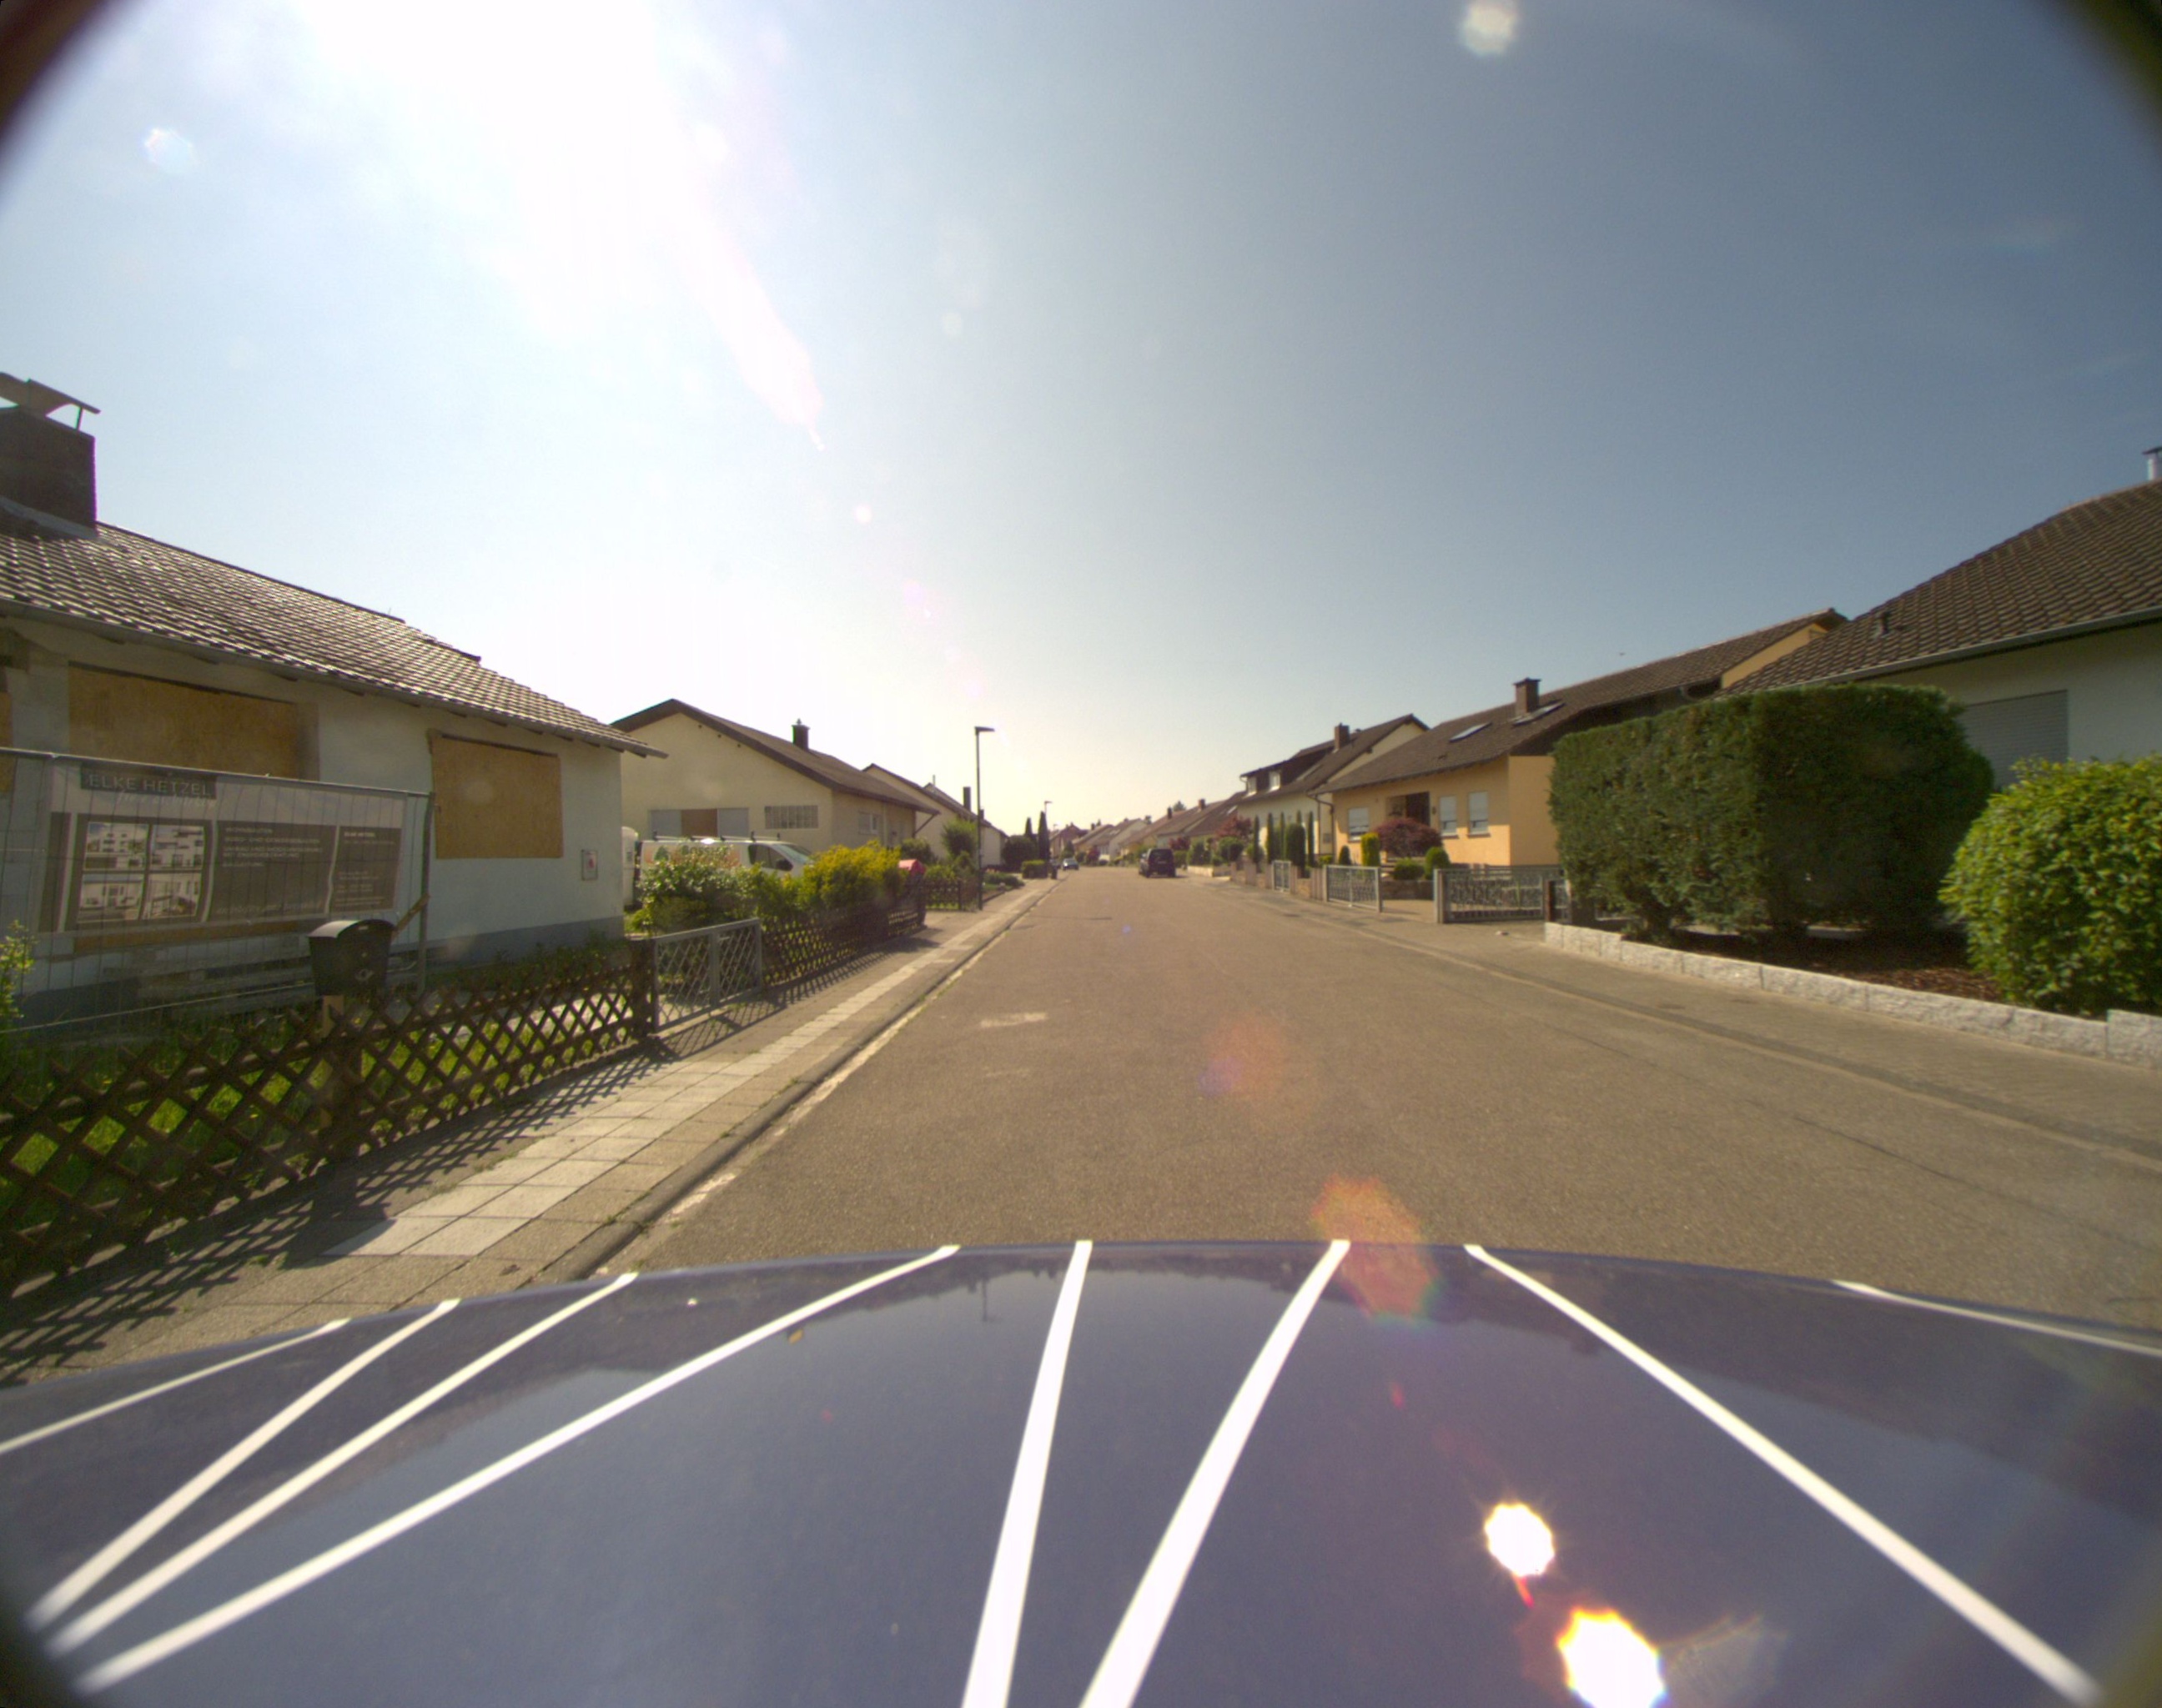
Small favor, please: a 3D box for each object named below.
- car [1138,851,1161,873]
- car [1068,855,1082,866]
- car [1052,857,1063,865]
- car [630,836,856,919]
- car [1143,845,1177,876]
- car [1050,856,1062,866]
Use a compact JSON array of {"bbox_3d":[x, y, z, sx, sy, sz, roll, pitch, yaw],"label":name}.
[{"bbox_3d":[4.683,0.532,52.312,1.305,1.415,3.103,-2,1,1],"label":"car"},{"bbox_3d":[-0.740,0.756,91.520,1.459,1.270,3.102,-1,1,-5],"label":"car"},{"bbox_3d":[-3.555,1.046,114.490,1.459,1.270,3.102,-1,1,-4],"label":"car"},{"bbox_3d":[-8.668,0.581,19.769,5.007,2.002,1.868,-1,1,3],"label":"car"},{"bbox_3d":[4.820,0.363,46.939,1.769,1.767,3.652,-2,1,1],"label":"car"},{"bbox_3d":[-3.452,0.998,104.549,1.459,1.270,3.101,-1,1,-6],"label":"car"}]
